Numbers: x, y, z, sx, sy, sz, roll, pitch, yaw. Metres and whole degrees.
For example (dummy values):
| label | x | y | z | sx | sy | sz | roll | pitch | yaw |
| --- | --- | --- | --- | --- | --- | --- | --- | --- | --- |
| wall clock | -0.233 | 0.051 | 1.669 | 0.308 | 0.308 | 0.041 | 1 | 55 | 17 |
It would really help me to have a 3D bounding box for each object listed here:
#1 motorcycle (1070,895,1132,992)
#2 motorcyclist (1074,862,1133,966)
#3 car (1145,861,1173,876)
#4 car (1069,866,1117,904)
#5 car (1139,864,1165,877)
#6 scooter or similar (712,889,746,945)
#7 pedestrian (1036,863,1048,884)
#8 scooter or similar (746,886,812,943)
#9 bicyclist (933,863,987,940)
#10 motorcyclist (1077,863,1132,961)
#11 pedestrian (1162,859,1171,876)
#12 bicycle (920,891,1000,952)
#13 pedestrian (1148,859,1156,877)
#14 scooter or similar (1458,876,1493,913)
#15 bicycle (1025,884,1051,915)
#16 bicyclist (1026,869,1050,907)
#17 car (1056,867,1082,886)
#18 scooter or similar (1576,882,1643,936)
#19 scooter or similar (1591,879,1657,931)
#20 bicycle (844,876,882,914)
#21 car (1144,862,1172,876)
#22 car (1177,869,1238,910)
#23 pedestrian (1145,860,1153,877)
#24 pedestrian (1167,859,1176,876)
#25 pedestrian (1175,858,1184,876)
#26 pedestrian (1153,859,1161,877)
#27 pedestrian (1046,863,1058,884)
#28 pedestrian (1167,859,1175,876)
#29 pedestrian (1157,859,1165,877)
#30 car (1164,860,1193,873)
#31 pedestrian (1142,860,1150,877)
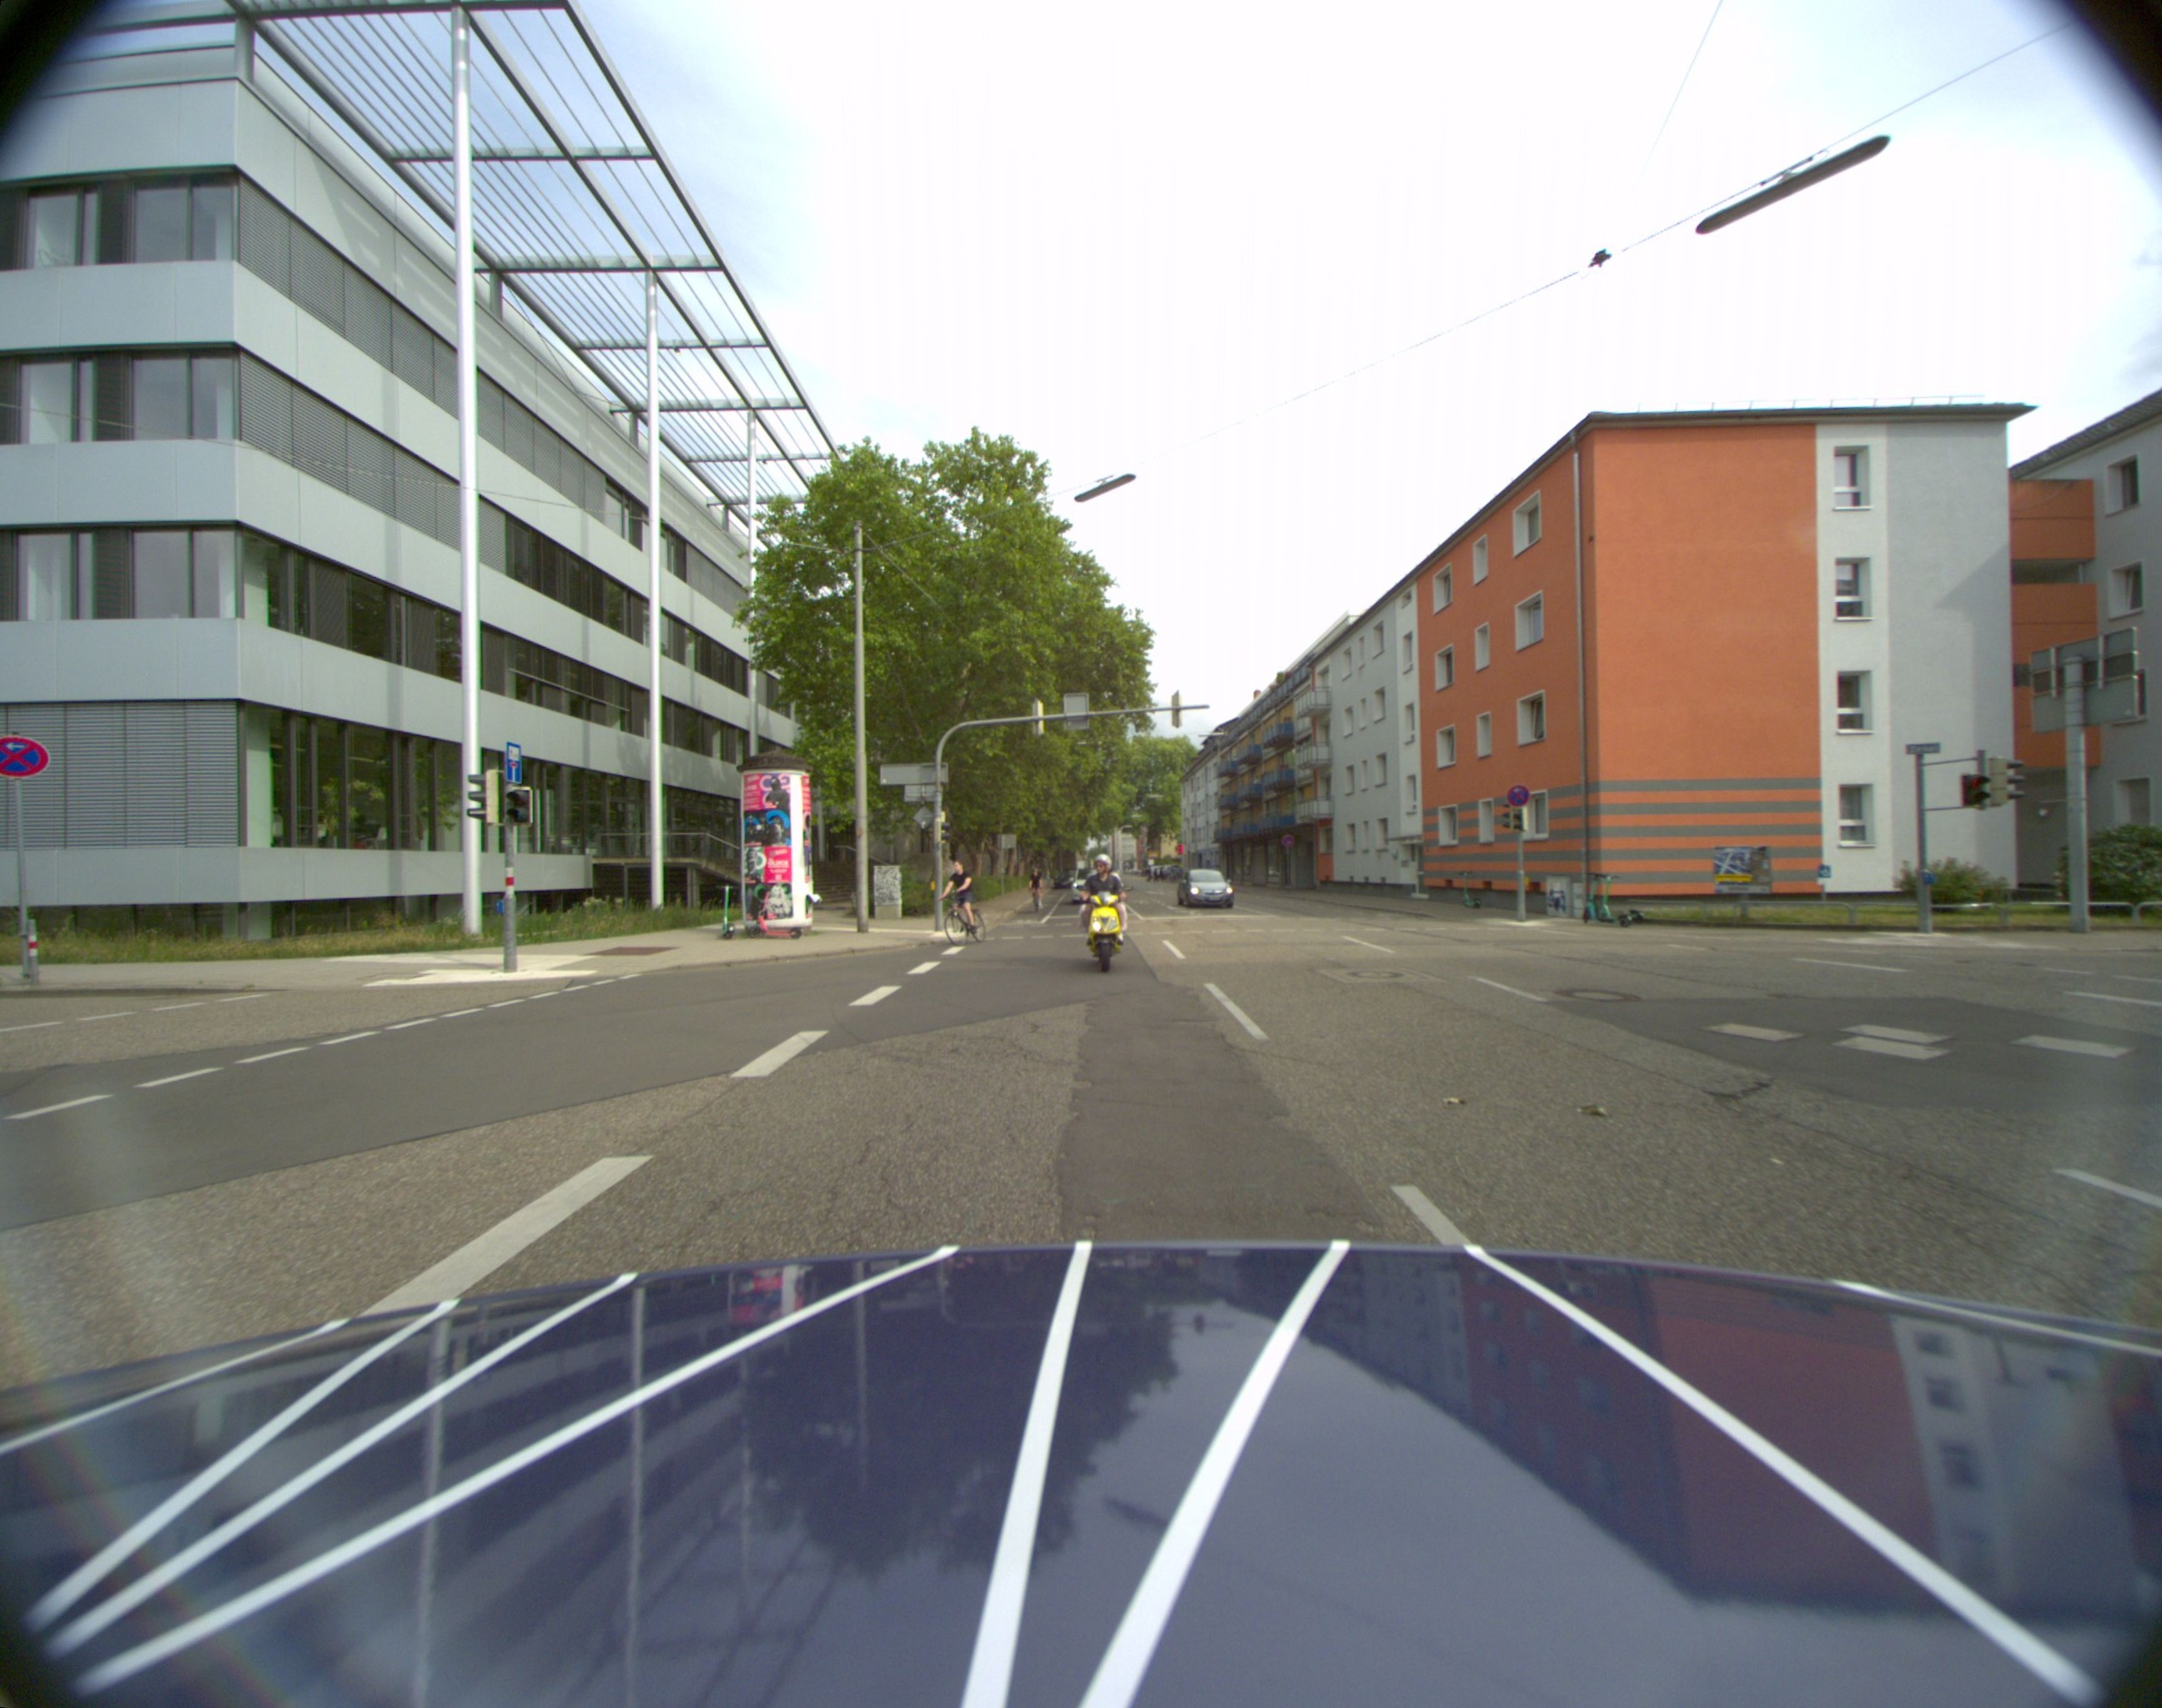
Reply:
| label | x | y | z | sx | sy | sz | roll | pitch | yaw |
| --- | --- | --- | --- | --- | --- | --- | --- | --- | --- |
| motorcycle | 0.311 | 1.217 | 10.873 | 0.781 | 1.171 | 1.993 | 1 | -1 | 3 |
| motorcyclist | 0.331 | 0.838 | 10.904 | 0.781 | 1.418 | 0.764 | 1 | -1 | 3 |
| car | 11.671 | 2.158 | 113.973 | 3.997 | 2.001 | 2.000 | -3 | -1 | 0 |
| car | 0.560 | 1.379 | 35.148 | 1.998 | 1.542 | 4.522 | -3 | -1 | 1 |
| car | 11.796 | 2.731 | 126.019 | 3.997 | 2.001 | 2.000 | -3 | -1 | 0 |
| scooter or similar | -7.762 | 1.368 | 16.735 | 0.473 | 1.130 | 1.307 | 1 | 0 | -34 |
| pedestrian | -3.815 | 1.918 | 73.752 | 1.003 | 2.001 | 0.998 | -3 | 0 | 2 |
| scooter or similar | -6.619 | 1.313 | 16.677 | 1.309 | 1.202 | 0.344 | 1 | 0 | 5 |
| bicyclist | -2.591 | 1.007 | 16.276 | 0.772 | 1.573 | 0.802 | -4 | -1 | 19 |
| motorcyclist | 0.358 | 0.854 | 11.442 | 0.781 | 1.419 | 0.689 | 1 | -1 | 3 |
| pedestrian | 9.965 | 1.584 | 88.698 | 0.842 | 2.001 | 0.875 | -3 | 0 | 4 |
| bicycle | -2.549 | 1.413 | 16.295 | 0.772 | 1.124 | 2.007 | -4 | -1 | 19 |
| pedestrian | 8.320 | 1.667 | 89.328 | 0.842 | 2.001 | 0.875 | -3 | 0 | 4 |
| scooter or similar | 12.465 | 1.261 | 24.035 | 0.369 | 1.117 | 1.354 | -3 | -1 | 1 |
| bicycle | -1.620 | 1.708 | 29.166 | 0.771 | 1.009 | 2.408 | -4 | 0 | 0 |
| bicyclist | -1.654 | 1.306 | 29.430 | 0.784 | 1.438 | 0.914 | -3 | 0 | 1 |
| car | -1.015 | 1.952 | 66.852 | 1.998 | 1.532 | 4.272 | -3 | -1 | 2 |
| scooter or similar | 12.067 | 1.231 | 17.389 | 0.330 | 1.172 | 1.342 | -2 | -1 | -13 |
| scooter or similar | 12.658 | 1.161 | 17.748 | 0.330 | 1.151 | 1.353 | -2 | -1 | -13 |
| bicycle | -7.232 | 1.342 | 25.330 | 0.700 | 1.162 | 1.725 | -3 | -1 | 1 |
| car | 11.767 | 2.263 | 116.766 | 3.997 | 2.001 | 2.000 | -3 | -1 | 0 |
| car | 4.776 | 1.301 | 29.172 | 1.673 | 1.430 | 3.820 | -1 | -1 | 0 |
| pedestrian | 8.033 | 1.692 | 90.155 | 0.842 | 2.001 | 0.875 | -3 | 0 | 4 |
| pedestrian | 10.309 | 1.535 | 86.495 | 0.842 | 2.001 | 0.875 | -3 | 0 | 4 |
| pedestrian | 11.205 | 1.496 | 86.616 | 0.842 | 2.001 | 0.875 | -3 | 0 | 4 |
| pedestrian | 8.732 | 1.619 | 87.363 | 0.842 | 2.001 | 0.875 | -3 | 0 | 4 |
| pedestrian | -2.836 | 1.876 | 73.725 | 1.003 | 2.001 | 0.998 | -3 | 0 | 2 |
| pedestrian | 10.528 | 1.566 | 89.148 | 0.842 | 2.001 | 0.875 | -3 | 0 | 4 |
| pedestrian | 9.113 | 1.591 | 86.628 | 0.842 | 2.001 | 0.875 | -3 | 0 | 4 |
| car | 14.036 | 1.784 | 109.447 | 3.870 | 1.678 | 1.883 | -3 | -1 | 0 |
| pedestrian | 7.579 | 1.689 | 88.637 | 0.842 | 2.001 | 0.875 | -3 | 0 | 4 |
